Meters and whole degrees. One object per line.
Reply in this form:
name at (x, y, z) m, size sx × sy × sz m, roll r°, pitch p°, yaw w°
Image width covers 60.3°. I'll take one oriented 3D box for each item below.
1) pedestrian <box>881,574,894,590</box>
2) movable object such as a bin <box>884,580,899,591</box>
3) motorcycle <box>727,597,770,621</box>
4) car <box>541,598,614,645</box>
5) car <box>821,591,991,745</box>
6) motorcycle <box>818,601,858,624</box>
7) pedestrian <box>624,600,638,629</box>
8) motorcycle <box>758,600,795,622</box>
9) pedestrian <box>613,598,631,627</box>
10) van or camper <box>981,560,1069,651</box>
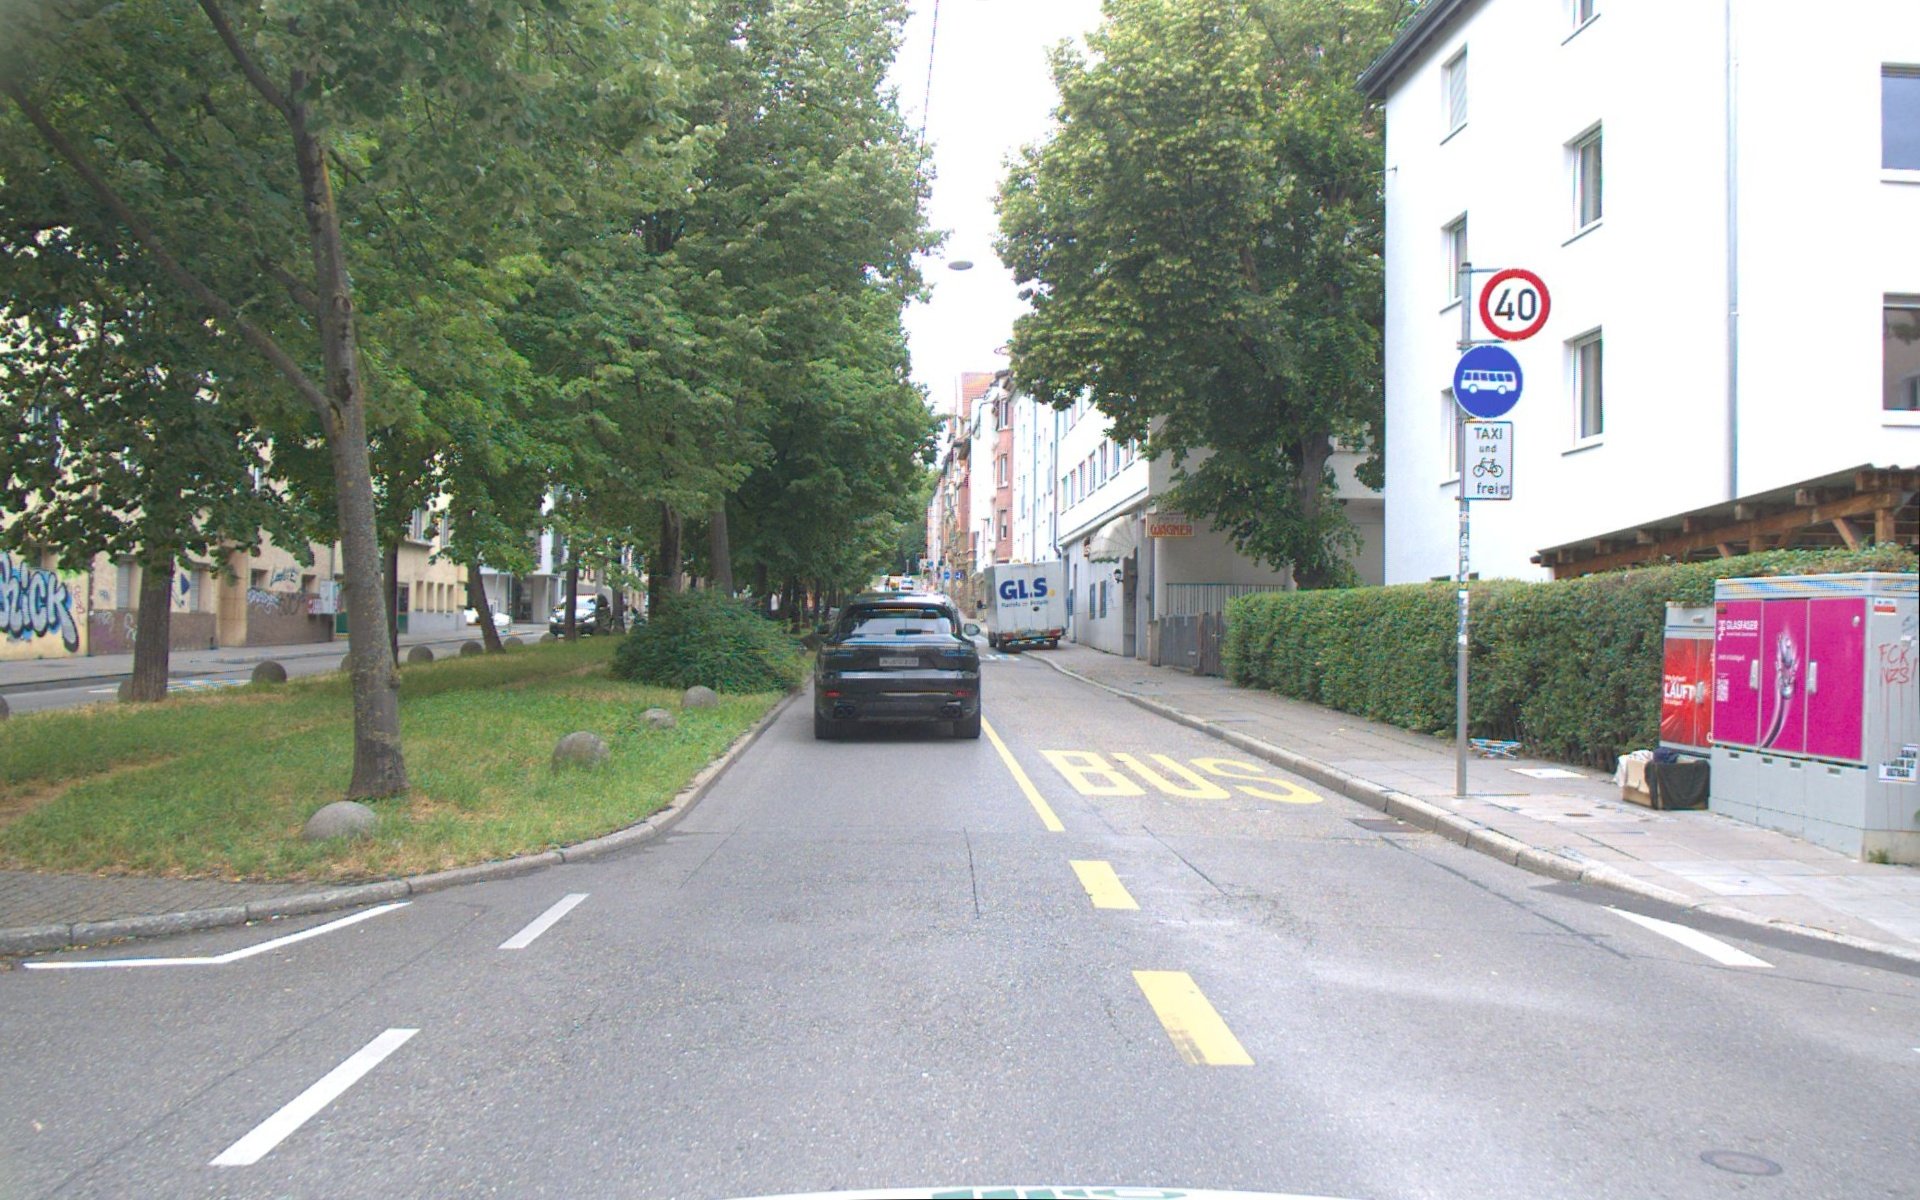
pedestrian at (-9.231, -2.249, 209.671) m, size 1.286 × 2.049 × 1.010 m, roll 1°, pitch 0°, yaw -28°
movable object such as a bin at (-8.648, -1.841, 208.528) m, size 1.224 × 1.296 × 1.828 m, roll 1°, pitch 0°, yaw -29°
motorcycle at (-11.851, 0.511, 92.676) m, size 2.335 × 1.340 × 1.045 m, roll 1°, pitch 0°, yaw -4°
car at (-14.489, 0.783, 62.838) m, size 1.910 × 1.657 × 4.362 m, roll 2°, pitch 0°, yaw -3°
car at (-0.731, 0.755, 20.370) m, size 1.866 × 1.695 × 4.132 m, roll 1°, pitch 0°, yaw -4°
motorcycle at (-7.055, 0.739, 95.707) m, size 2.309 × 1.257 × 1.033 m, roll 1°, pitch 1°, yaw -4°
pedestrian at (-18.885, 0.813, 94.862) m, size 0.649 × 1.644 × 0.579 m, roll 1°, pitch 0°, yaw -1°
motorcycle at (-10.652, 0.628, 96.079) m, size 1.986 × 1.257 × 0.897 m, roll 0°, pitch 0°, yaw 2°
pedestrian at (-19.089, 0.694, 93.468) m, size 0.621 × 1.641 × 0.764 m, roll 1°, pitch 0°, yaw 23°
van or camper at (2.105, 0.175, 55.907) m, size 2.430 × 2.852 × 7.235 m, roll 1°, pitch 0°, yaw -2°
